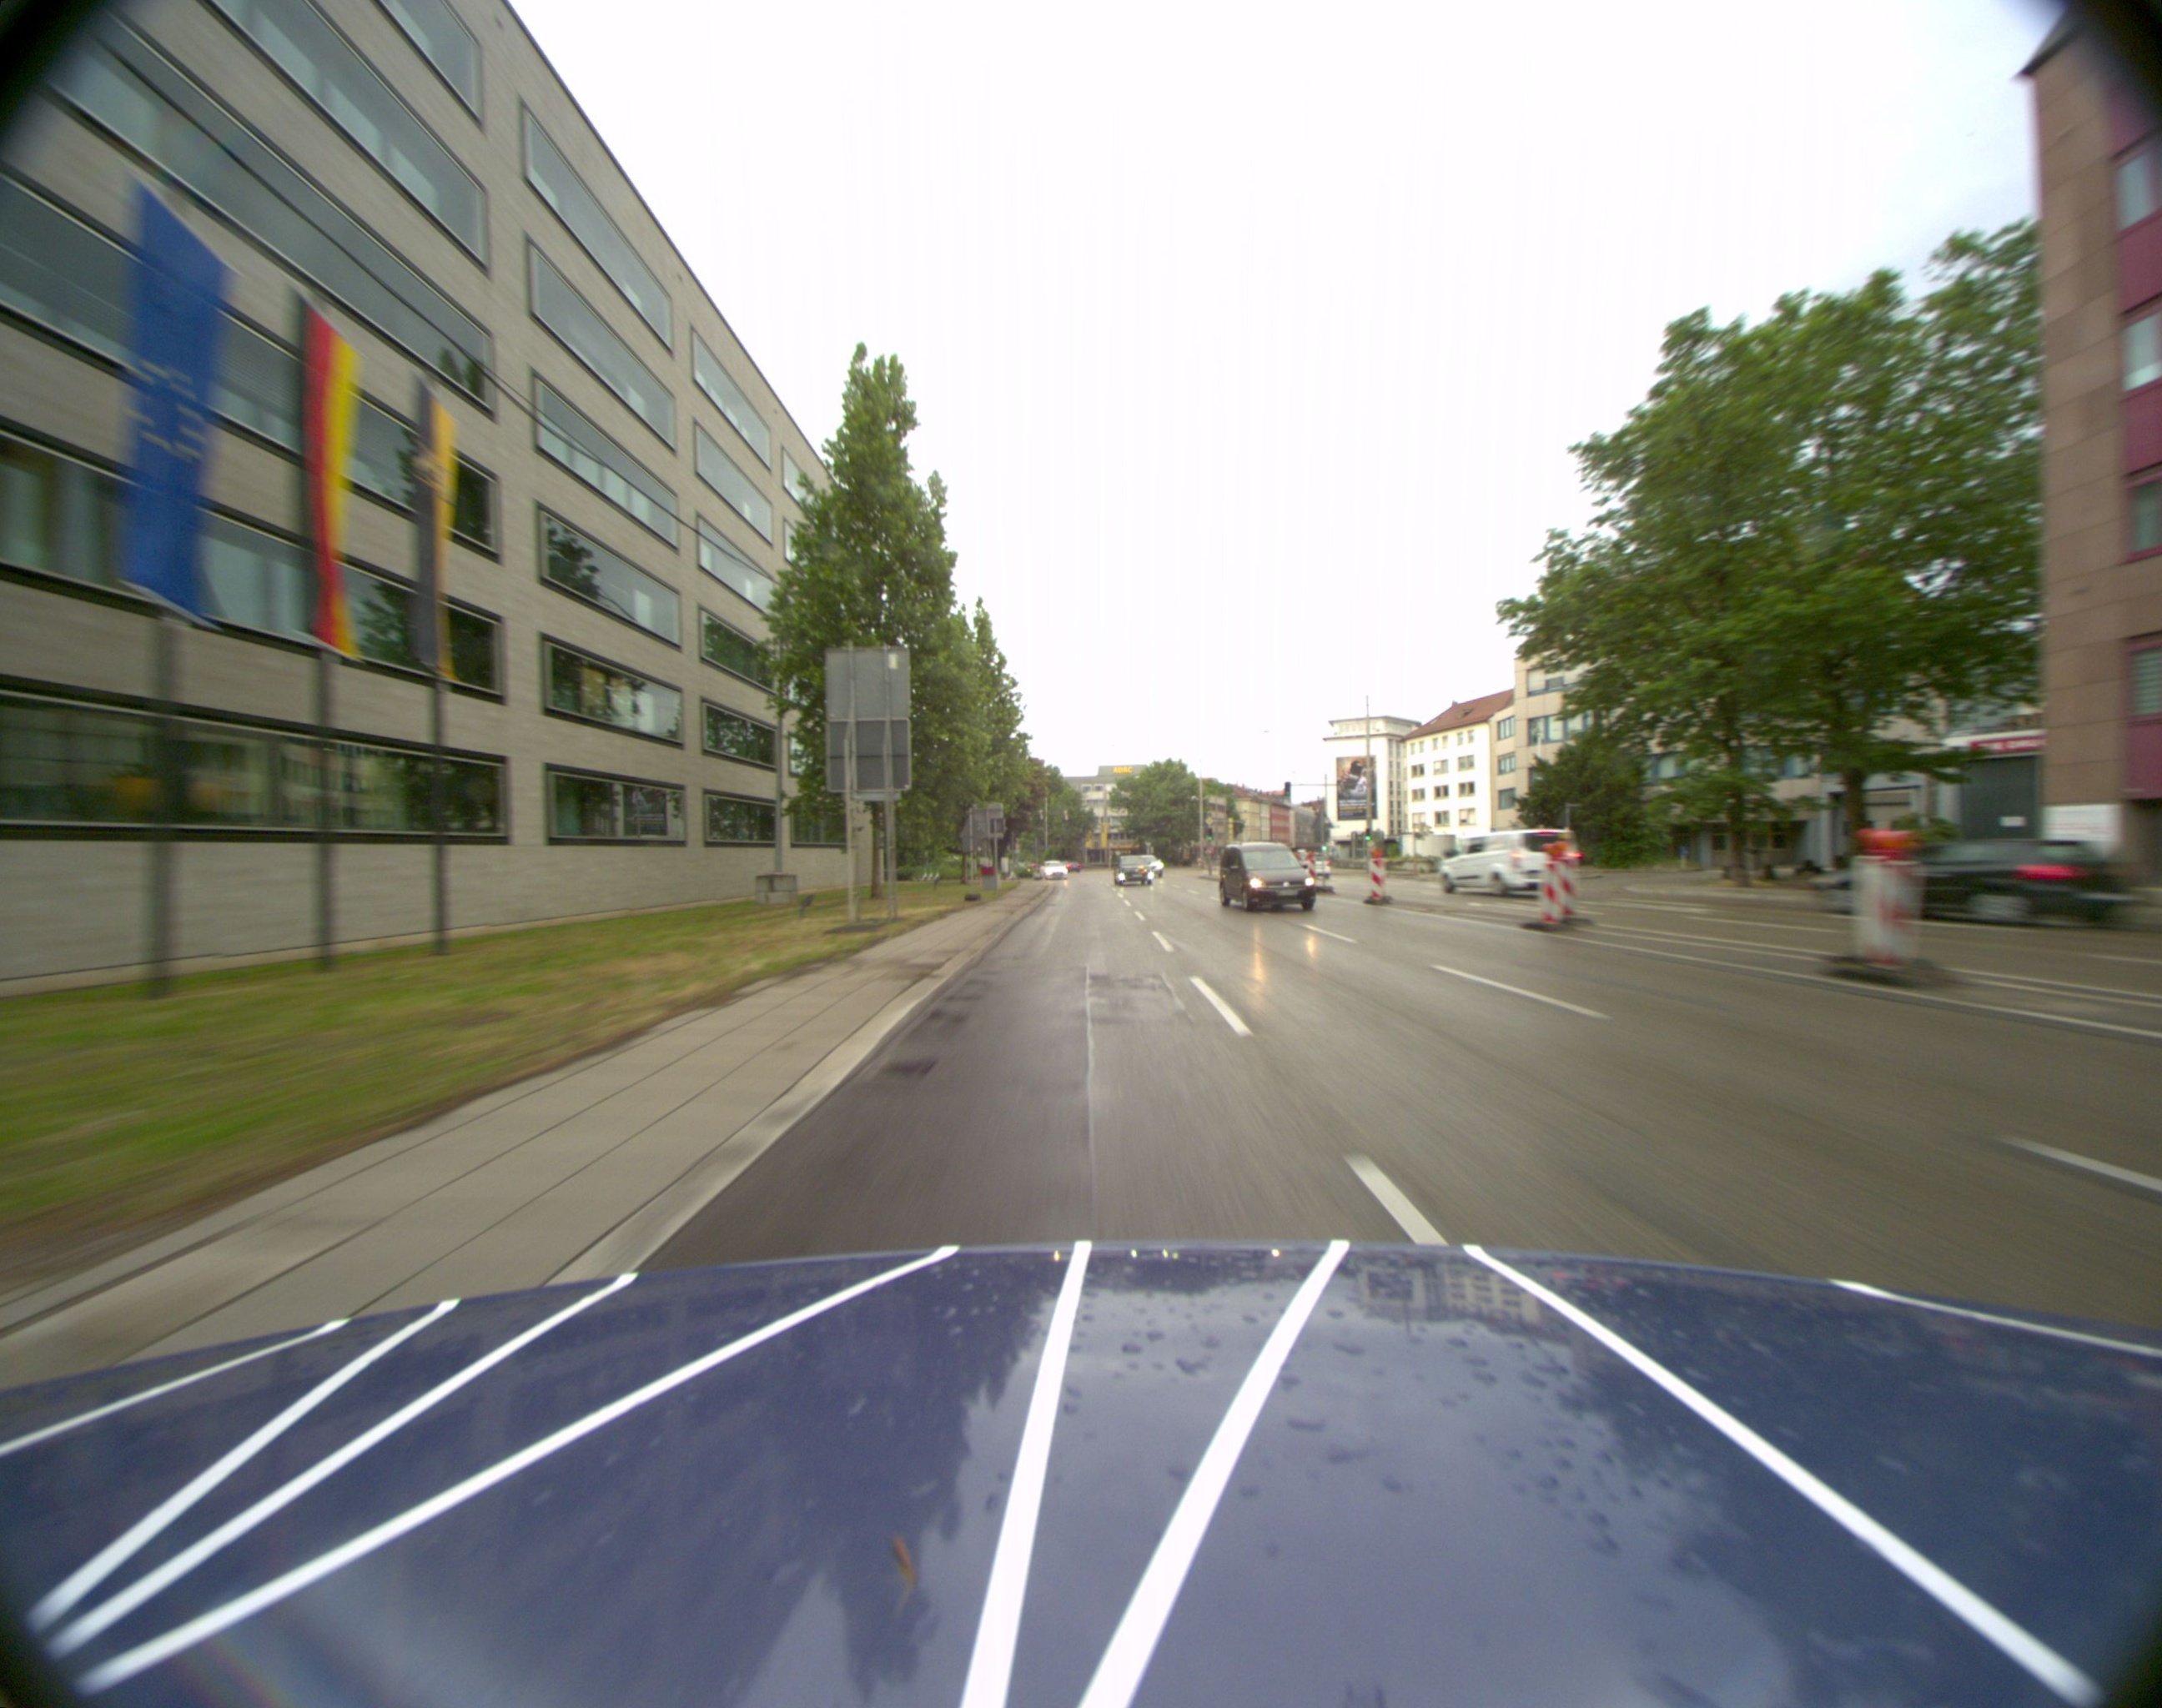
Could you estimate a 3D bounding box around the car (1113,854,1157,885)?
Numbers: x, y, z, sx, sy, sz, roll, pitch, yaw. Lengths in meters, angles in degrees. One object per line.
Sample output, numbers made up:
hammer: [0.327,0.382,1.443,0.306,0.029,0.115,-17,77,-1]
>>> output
car: [2.941,0.810,42.141,1.930,1.532,3.999,-2,1,-2]

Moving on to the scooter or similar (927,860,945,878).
scooter or similar: [-10.595,1.114,55.619,1.240,1.305,0.554,-1,1,-3]

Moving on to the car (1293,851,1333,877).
car: [13.932,0.601,45.684,1.559,1.475,2.950,-1,-1,2]

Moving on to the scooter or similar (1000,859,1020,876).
scooter or similar: [-5.099,0.958,54.813,0.687,1.194,1.341,0,1,38]

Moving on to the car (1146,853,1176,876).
car: [5.711,0.714,54.820,1.847,1.566,4.000,-1,0,2]

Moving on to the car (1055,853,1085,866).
car: [-1.274,0.611,87.923,1.775,1.408,4.073,-1,1,-29]

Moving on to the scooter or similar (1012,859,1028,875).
scooter or similar: [-4.498,0.973,55.958,0.638,1.122,1.590,-1,1,-25]

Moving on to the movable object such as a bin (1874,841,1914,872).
movable object such as a bin: [26.884,0.069,25.127,0.872,0.990,0.790,0,1,45]

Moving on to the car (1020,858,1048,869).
car: [-6.327,1.243,101.894,1.827,1.503,4.221,-1,1,-36]

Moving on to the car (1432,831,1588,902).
car: [13.395,0.334,24.200,1.998,1.979,5.288,-1,0,0]

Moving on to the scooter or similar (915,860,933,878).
scooter or similar: [-11.720,1.100,56.652,1.240,1.305,0.472,-1,1,-3]

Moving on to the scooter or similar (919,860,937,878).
scooter or similar: [-11.281,1.131,56.134,1.240,1.305,0.472,-1,1,-3]

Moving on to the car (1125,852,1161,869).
car: [6.432,0.699,78.916,1.774,1.672,4.581,-1,1,-24]

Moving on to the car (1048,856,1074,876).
car: [-1.566,0.938,61.413,1.847,1.566,4.000,-1,0,2]

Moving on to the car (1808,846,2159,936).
car: [16.112,0.576,13.962,1.703,1.391,4.020,-1,0,0]

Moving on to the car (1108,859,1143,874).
car: [4.342,1.200,74.625,2.001,1.430,4.931,0,0,-14]

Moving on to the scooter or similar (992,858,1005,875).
scooter or similar: [-5.884,0.908,54.317,0.563,1.194,1.326,-1,1,7]

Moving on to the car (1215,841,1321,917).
car: [4.944,0.628,20.710,1.795,1.789,4.125,-2,0,0]
